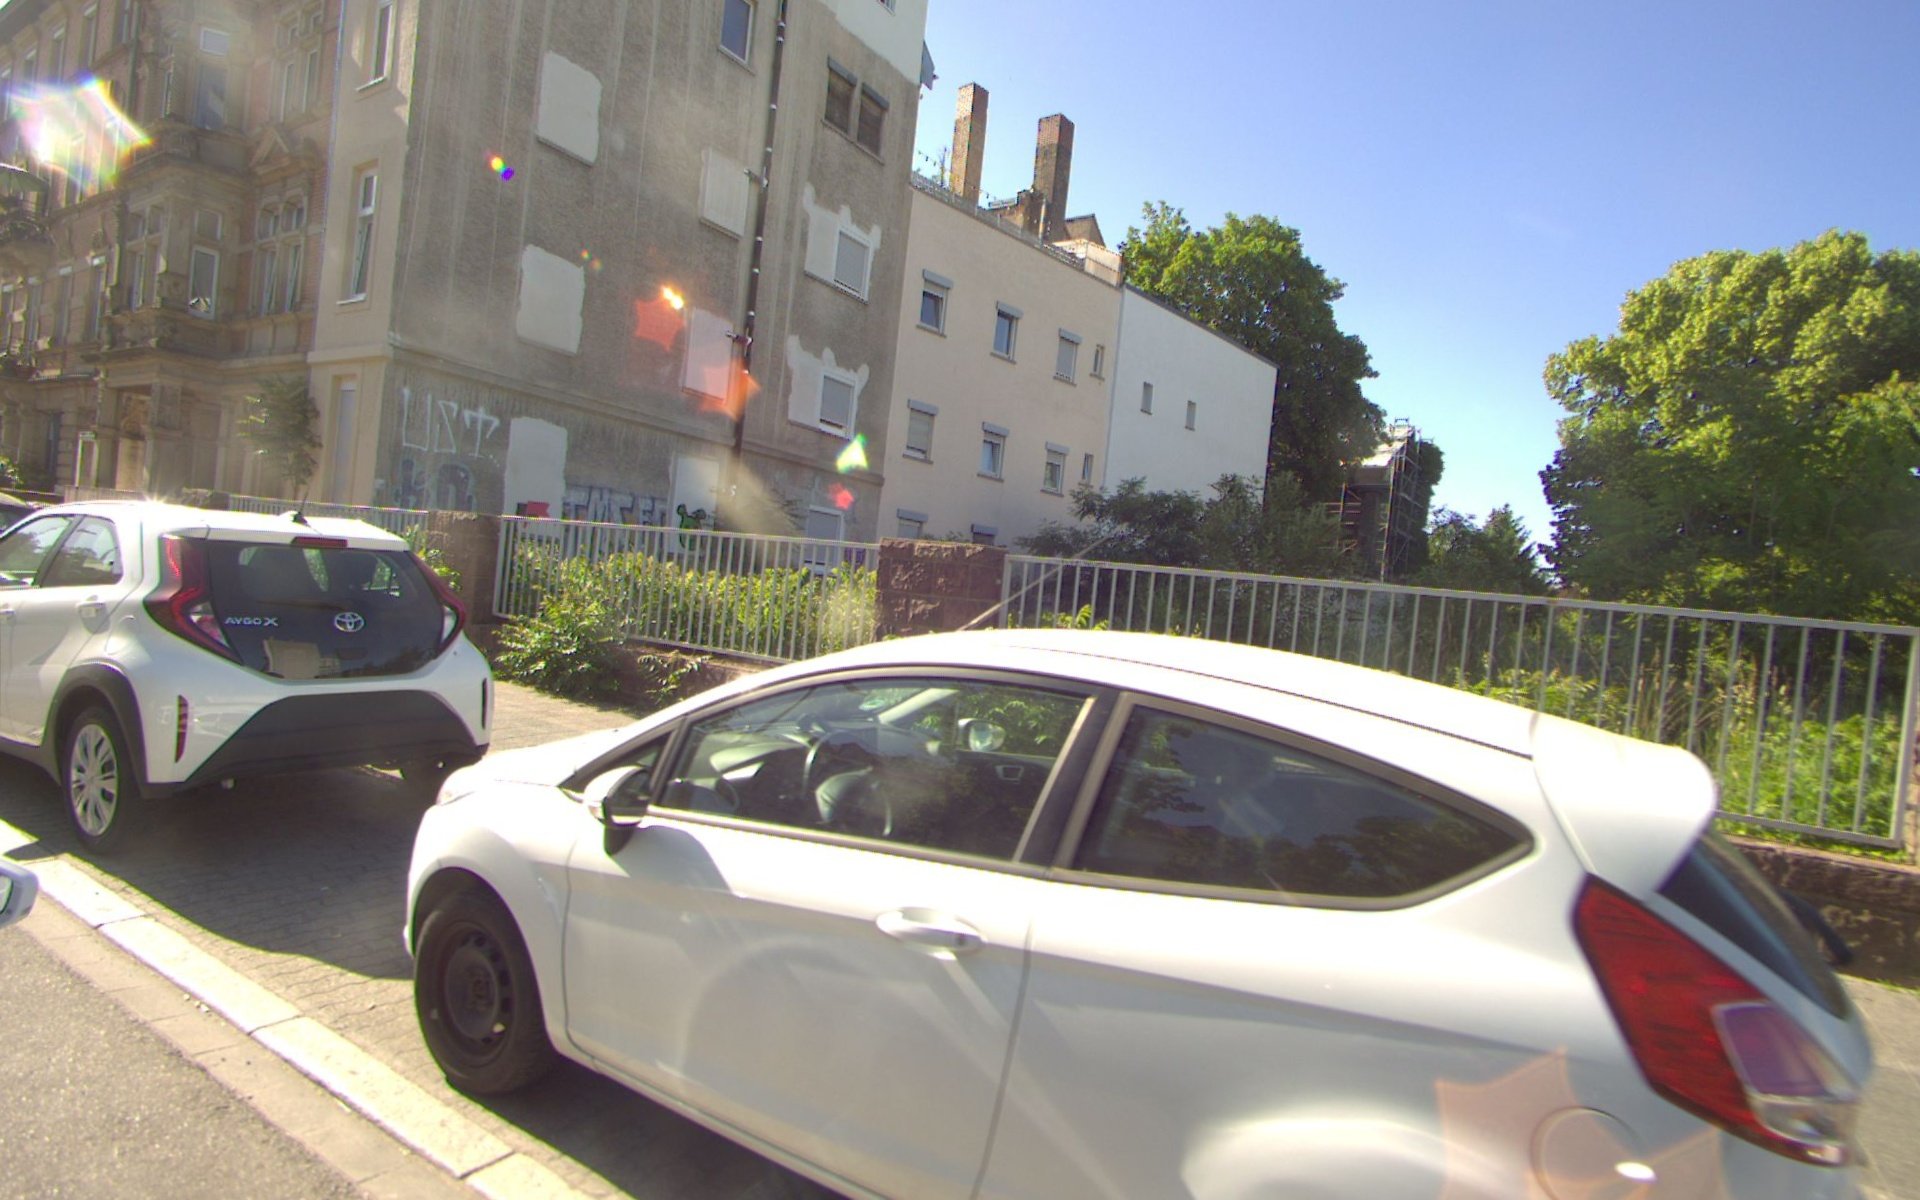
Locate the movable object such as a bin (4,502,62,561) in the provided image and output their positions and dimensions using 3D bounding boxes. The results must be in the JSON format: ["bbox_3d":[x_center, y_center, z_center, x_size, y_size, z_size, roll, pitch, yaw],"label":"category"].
[{"bbox_3d":[-20.068,-1.482,21.782,0.599,1.170,0.722,3,-2,34],"label":"movable object such as a bin"}]

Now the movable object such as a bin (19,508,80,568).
[{"bbox_3d":[-19.243,-1.300,21.274,0.599,1.170,0.759,3,-2,34],"label":"movable object such as a bin"}]

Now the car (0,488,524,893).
[{"bbox_3d":[-4.382,0.261,5.571,3.598,1.538,1.670,7,1,29],"label":"car"}]

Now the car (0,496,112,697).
[{"bbox_3d":[-8.500,-0.209,7.885,3.712,1.411,1.669,7,1,31],"label":"car"}]

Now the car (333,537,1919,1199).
[{"bbox_3d":[0.033,0.725,2.863,3.597,1.466,1.608,7,4,31],"label":"car"}]
